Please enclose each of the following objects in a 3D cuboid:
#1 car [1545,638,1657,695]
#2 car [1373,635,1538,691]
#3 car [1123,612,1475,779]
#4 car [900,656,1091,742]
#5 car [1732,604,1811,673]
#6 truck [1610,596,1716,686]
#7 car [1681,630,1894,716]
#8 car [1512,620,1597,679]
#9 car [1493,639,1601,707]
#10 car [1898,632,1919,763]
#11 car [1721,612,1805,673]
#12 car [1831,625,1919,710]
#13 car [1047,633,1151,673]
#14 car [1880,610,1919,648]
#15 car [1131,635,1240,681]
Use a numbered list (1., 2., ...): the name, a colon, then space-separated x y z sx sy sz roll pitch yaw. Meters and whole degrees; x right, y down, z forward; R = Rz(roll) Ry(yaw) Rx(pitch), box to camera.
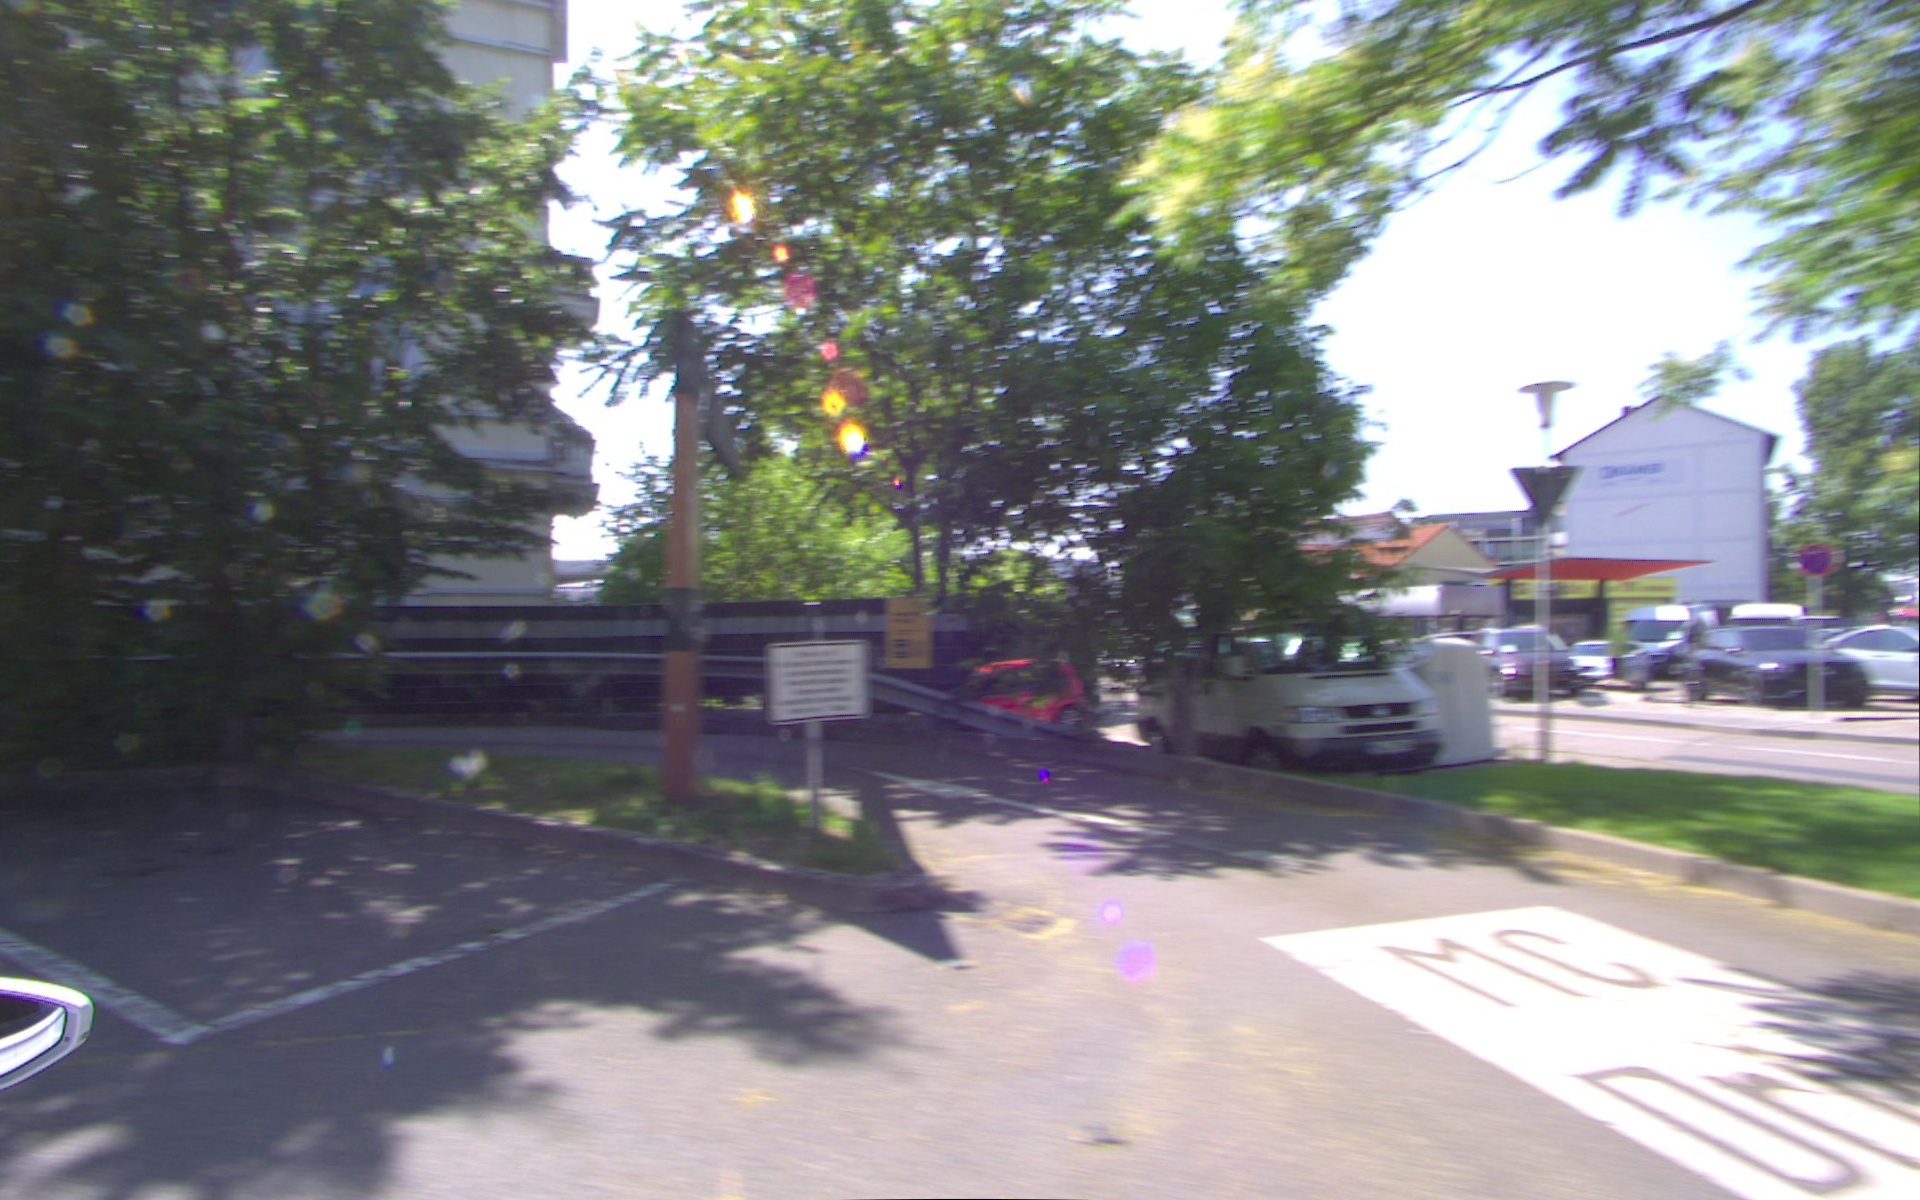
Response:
1. car: 18.884 1.921 29.456 3.959 1.506 1.778 3 -2 -42
2. car: 15.743 1.985 31.997 4.250 1.605 2.001 1 -1 3
3. car: 3.728 0.969 12.218 1.921 1.604 5.028 1 -1 -9
4. car: 0.664 1.840 19.108 3.356 1.397 1.483 0 1 -19
5. car: 29.439 1.371 36.364 2.117 2.314 4.677 0 -2 39
6. truck: 25.088 1.420 35.634 2.251 2.941 5.892 1 -1 43
7. car: 17.663 1.487 21.683 2.016 1.615 4.418 1 -2 18
8. car: 22.243 1.842 37.371 1.977 2.039 4.462 0 -2 41
9. car: 14.846 1.794 25.235 1.772 1.529 3.972 0 -2 39
10. car: 13.886 1.173 10.926 1.965 1.665 5.025 1 -2 -17
11. car: 25.547 1.312 31.801 1.862 1.760 4.685 1 -1 41
12. car: 20.855 1.428 21.011 1.961 1.747 4.001 1 -2 6
13. car: 6.580 2.514 47.333 4.585 1.747 1.992 3 -2 -27
14. car: 66.516 2.065 70.341 2.516 2.552 5.079 0 -2 41
15. car: 9.093 2.355 40.374 3.941 1.747 1.991 2 -2 -28
